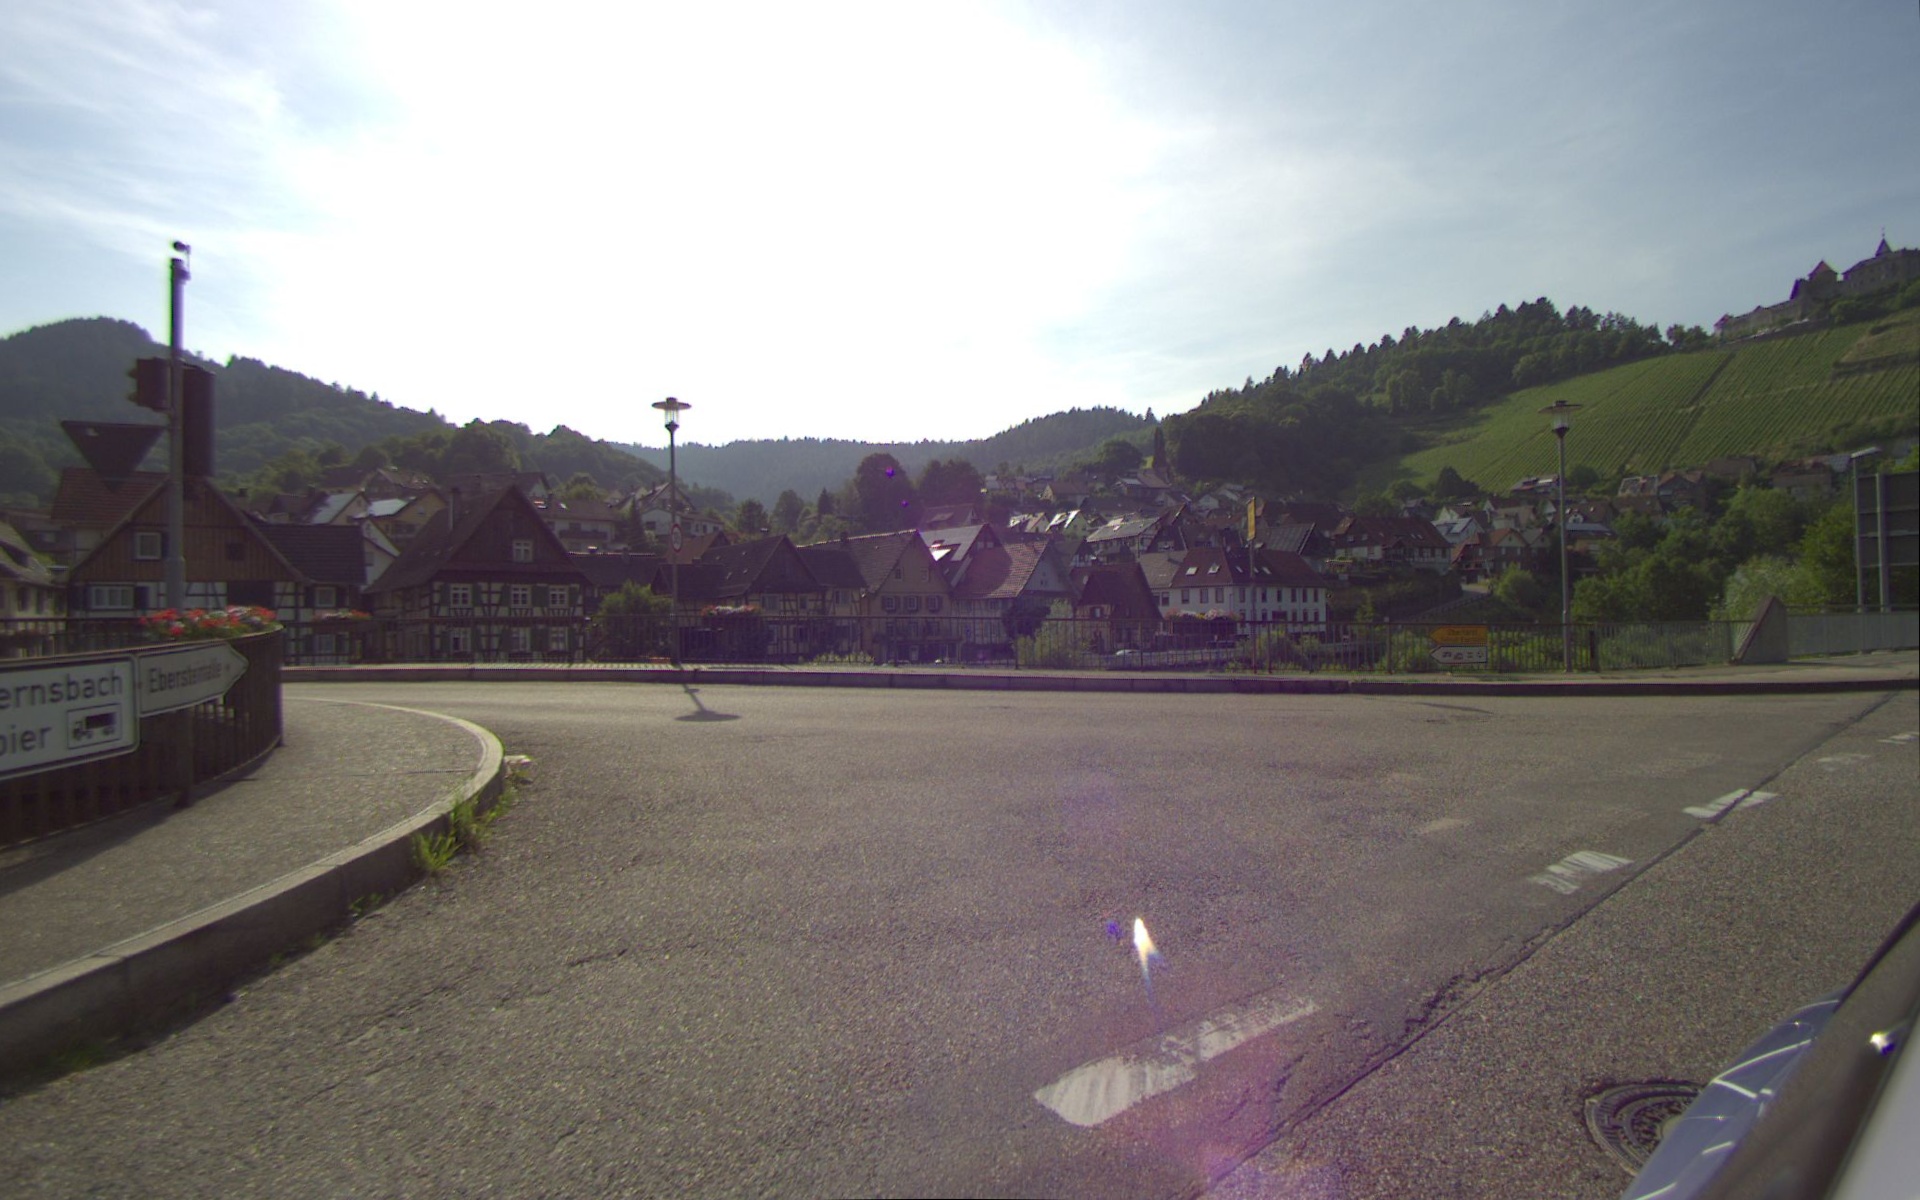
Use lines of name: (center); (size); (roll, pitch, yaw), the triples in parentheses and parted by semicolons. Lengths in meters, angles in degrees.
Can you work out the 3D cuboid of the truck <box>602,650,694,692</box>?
truck: (-17.733, 4.006, 57.625); (4.644, 2.039, 1.997); (0, 1, -42)
